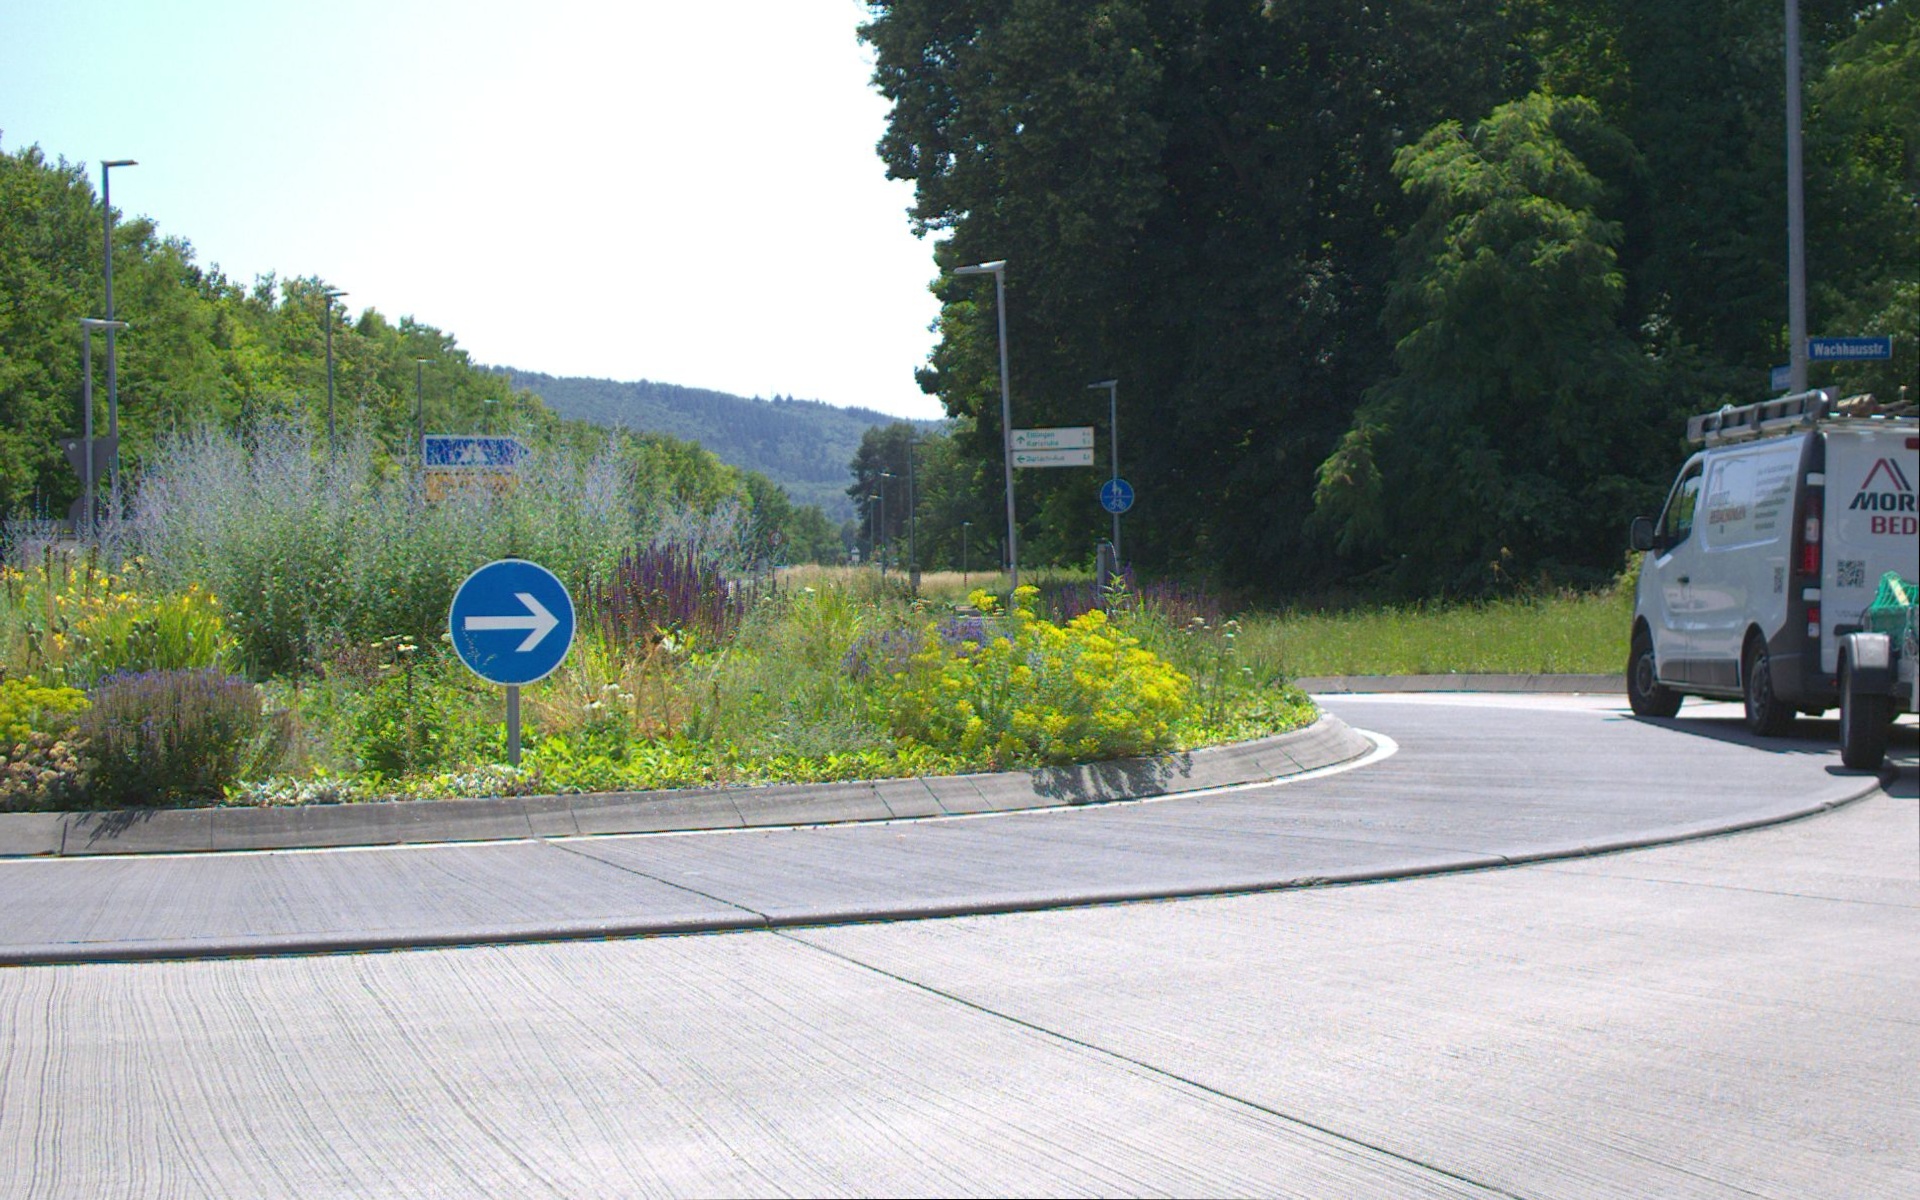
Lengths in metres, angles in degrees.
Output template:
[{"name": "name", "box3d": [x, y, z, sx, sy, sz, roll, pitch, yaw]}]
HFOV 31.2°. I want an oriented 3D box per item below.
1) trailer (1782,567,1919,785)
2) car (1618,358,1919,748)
[{"name": "trailer", "box3d": [5.780, 0.365, 18.758, 2.122, 1.093, 3.354, 0, 0, 7]}, {"name": "car", "box3d": [5.910, -0.297, 22.846, 2.166, 2.308, 4.981, 0, 0, 1]}]
